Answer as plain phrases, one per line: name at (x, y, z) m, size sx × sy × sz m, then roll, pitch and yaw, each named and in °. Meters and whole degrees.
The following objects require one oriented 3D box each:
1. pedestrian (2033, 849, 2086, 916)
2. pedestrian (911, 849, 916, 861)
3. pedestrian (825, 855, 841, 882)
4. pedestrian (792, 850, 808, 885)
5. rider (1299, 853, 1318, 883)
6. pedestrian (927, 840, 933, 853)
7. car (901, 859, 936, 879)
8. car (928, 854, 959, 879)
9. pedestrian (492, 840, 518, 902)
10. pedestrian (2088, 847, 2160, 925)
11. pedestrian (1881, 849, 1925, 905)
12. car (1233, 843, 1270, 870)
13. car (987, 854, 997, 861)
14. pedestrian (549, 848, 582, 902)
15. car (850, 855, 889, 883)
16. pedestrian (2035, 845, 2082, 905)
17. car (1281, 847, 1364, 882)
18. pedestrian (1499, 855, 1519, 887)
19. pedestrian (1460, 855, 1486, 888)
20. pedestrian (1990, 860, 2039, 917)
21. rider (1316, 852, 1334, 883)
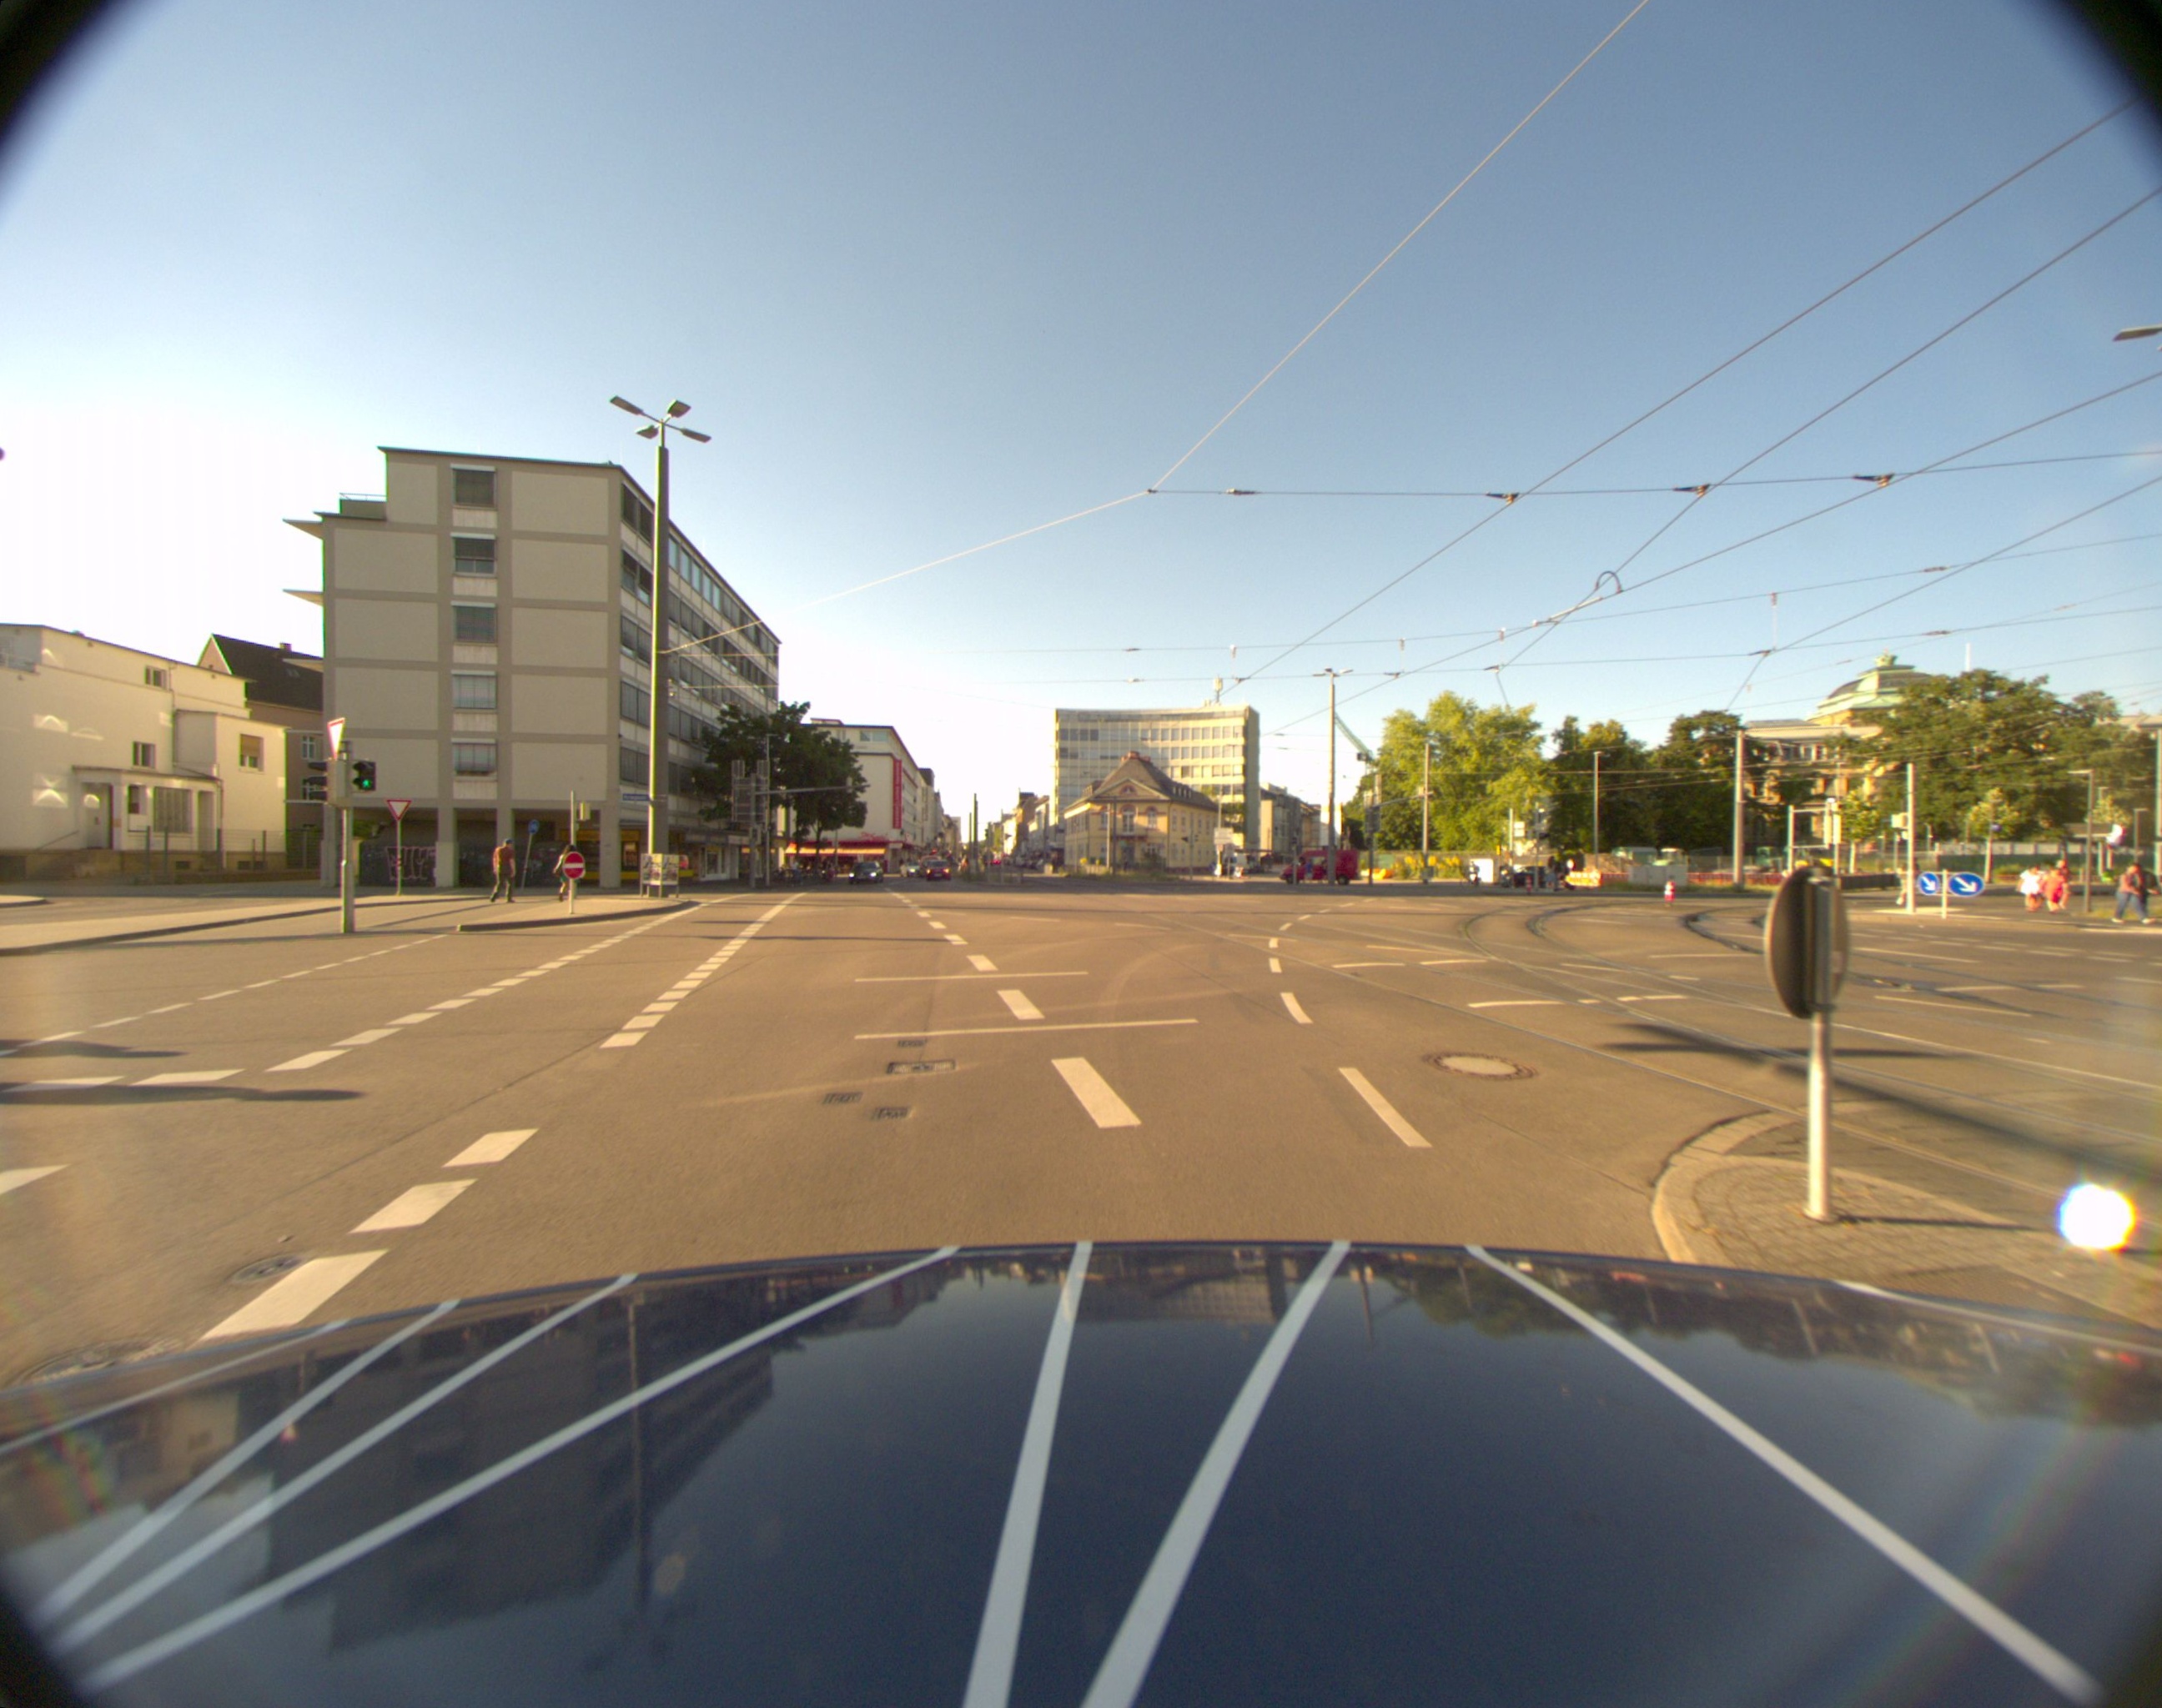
pedestrian at (30.336, 0.868, 23.569) m, size 0.858 × 2.002 × 0.813 m, roll -1°, pitch 2°, yaw 42°
pedestrian at (-20.086, 0.089, 91.245) m, size 0.597 × 1.434 × 0.613 m, roll 0°, pitch 1°, yaw -11°
pedestrian at (-16.171, 0.922, 49.553) m, size 0.861 × 1.700 × 1.050 m, roll -1°, pitch 1°, yaw -13°
pedestrian at (-16.310, 0.773, 44.054) m, size 0.748 × 2.002 × 1.069 m, roll -3°, pitch 1°, yaw -21°
rider at (15.551, 0.957, 51.895) m, size 1.011 × 2.002 × 1.021 m, roll -2°, pitch 1°, yaw 26°
pedestrian at (-17.126, -0.855, 86.263) m, size 0.598 × 1.434 × 0.612 m, roll 0°, pitch 1°, yaw -20°
car at (-14.393, 1.284, 67.138) m, size 1.975 × 1.664 × 4.865 m, roll -1°, pitch 0°, yaw -25°
car at (-9.726, 0.878, 54.171) m, size 1.973 × 1.664 × 4.871 m, roll -1°, pitch 0°, yaw -8°
pedestrian at (-15.956, 0.464, 21.062) m, size 0.407 × 1.708 × 0.394 m, roll -3°, pitch 1°, yaw -20°
pedestrian at (27.909, 0.848, 20.347) m, size 0.858 × 2.002 × 0.812 m, roll -2°, pitch 1°, yaw 29°
pedestrian at (30.253, 0.843, 27.976) m, size 0.812 × 2.002 × 0.859 m, roll -3°, pitch 1°, yaw -22°
car at (20.318, 0.285, 90.344) m, size 2.536 × 3.031 × 6.386 m, roll 3°, pitch 2°, yaw 28°
car at (-22.456, 0.926, 191.309) m, size 1.973 × 1.664 × 4.870 m, roll -1°, pitch 0°, yaw -12°
pedestrian at (-13.850, 0.556, 20.416) m, size 0.598 × 1.434 × 0.612 m, roll 0°, pitch 1°, yaw -20°
car at (-13.741, 0.935, 49.595) m, size 1.973 × 1.664 × 4.870 m, roll -1°, pitch 0°, yaw -11°
pedestrian at (33.952, 0.719, 26.411) m, size 0.858 × 2.002 × 0.813 m, roll -1°, pitch 2°, yaw 42°
car at (17.586, 0.752, 55.262) m, size 5.408 × 2.440 × 2.548 m, roll -1°, pitch 0°, yaw 25°
pedestrian at (27.472, 1.091, 48.754) m, size 1.011 × 2.002 × 0.991 m, roll -2°, pitch 1°, yaw 26°
pedestrian at (25.072, 1.119, 48.656) m, size 1.073 × 2.002 × 0.989 m, roll -2°, pitch 1°, yaw -4°
pedestrian at (29.721, 1.085, 24.207) m, size 0.858 × 1.761 × 0.710 m, roll -1°, pitch 2°, yaw 42°
rider at (16.537, 0.924, 51.466) m, size 1.011 × 2.002 × 0.991 m, roll -2°, pitch 1°, yaw 26°
